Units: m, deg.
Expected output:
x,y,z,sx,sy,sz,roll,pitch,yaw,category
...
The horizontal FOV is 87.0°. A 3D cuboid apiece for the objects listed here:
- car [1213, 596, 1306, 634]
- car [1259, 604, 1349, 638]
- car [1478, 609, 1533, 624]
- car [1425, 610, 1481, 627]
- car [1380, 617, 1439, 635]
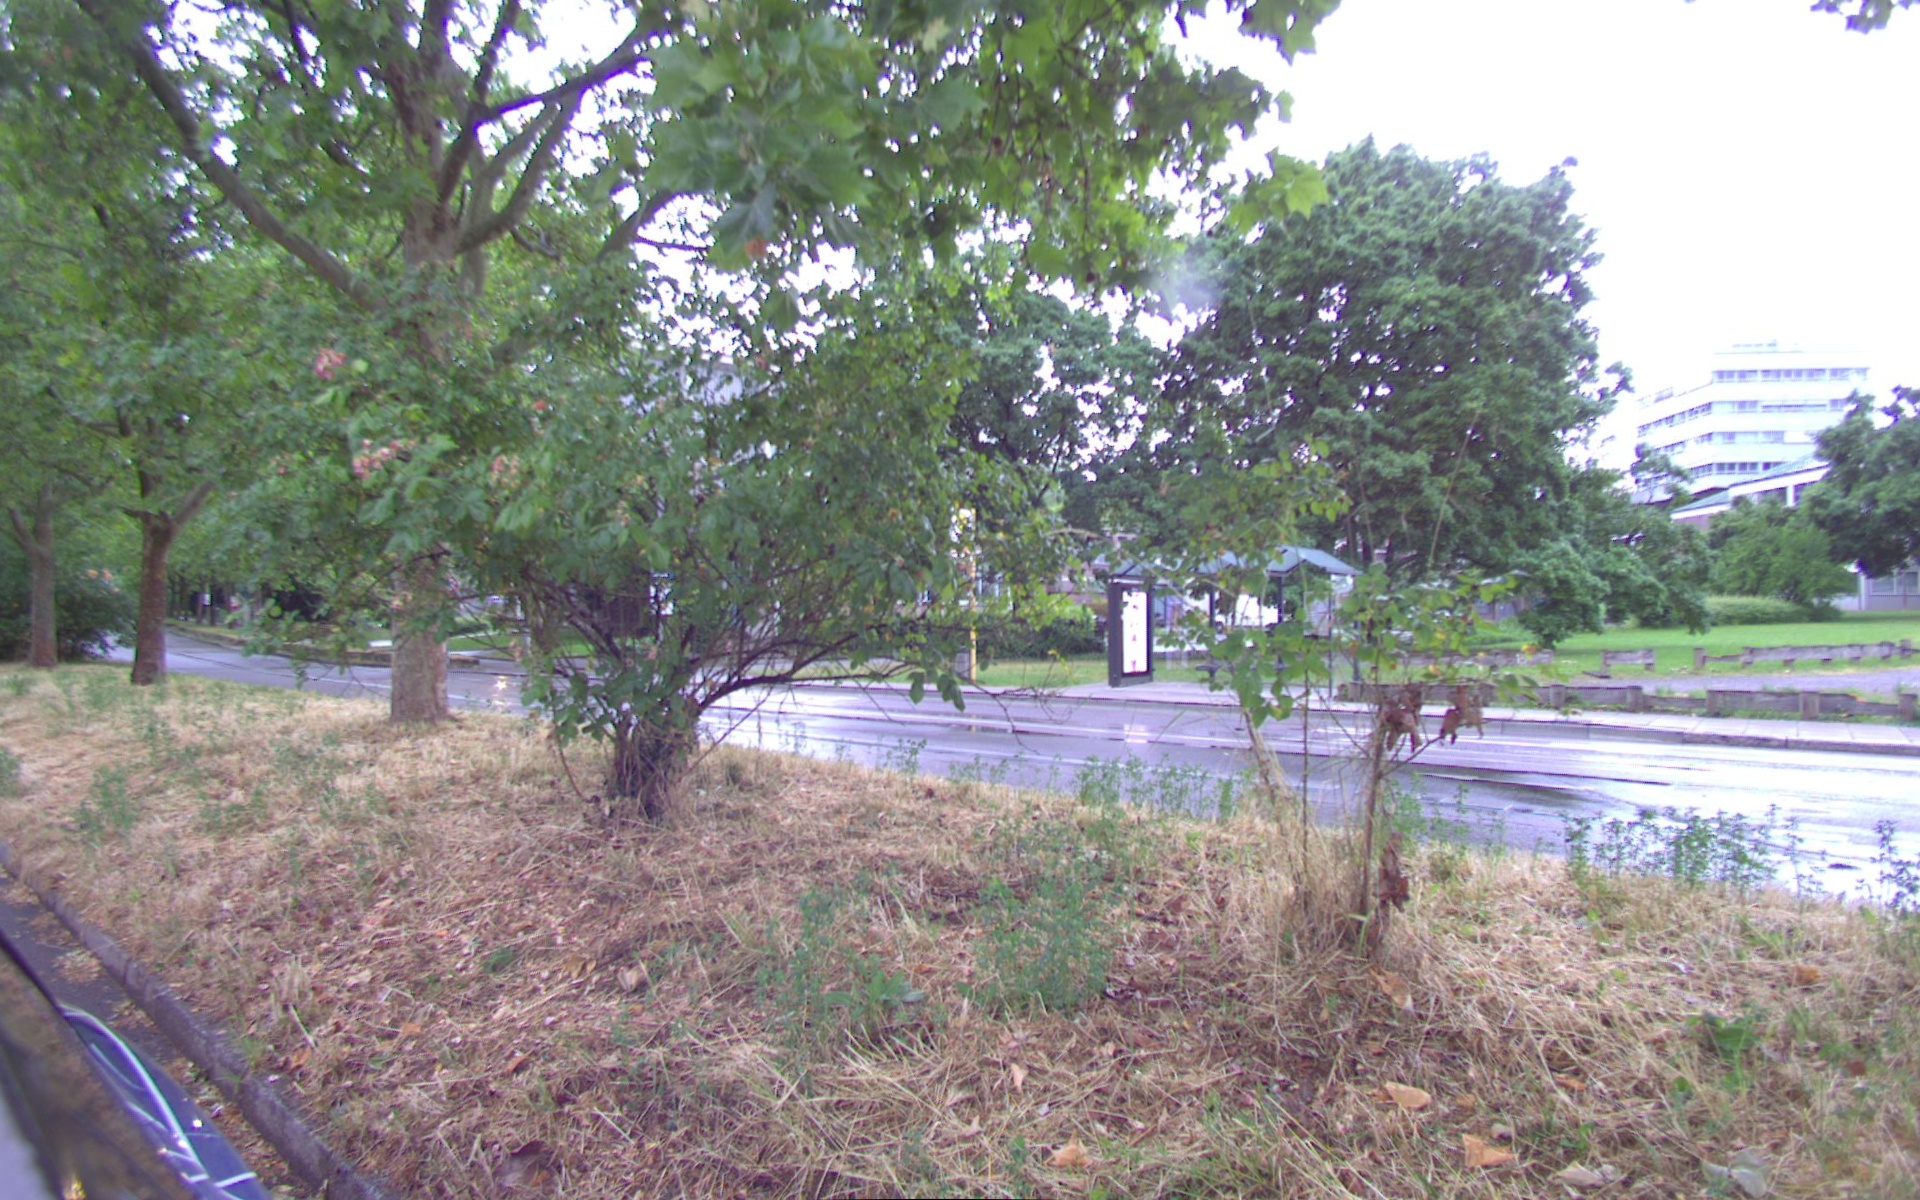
x,y,z,sx,sy,sz,roll,pitch,yaw,category
18.547,0.903,62.912,2.080,2.229,5.482,-1,1,-33,car
22.131,1.313,65.298,2.251,2.037,5.091,-1,1,-36,car
43.963,1.334,81.590,1.566,1.151,3.564,-1,1,-37,car
37.730,1.405,77.469,1.566,1.151,3.564,-1,1,-37,car
32.256,1.825,72.753,1.566,1.151,3.564,-1,1,-37,car
